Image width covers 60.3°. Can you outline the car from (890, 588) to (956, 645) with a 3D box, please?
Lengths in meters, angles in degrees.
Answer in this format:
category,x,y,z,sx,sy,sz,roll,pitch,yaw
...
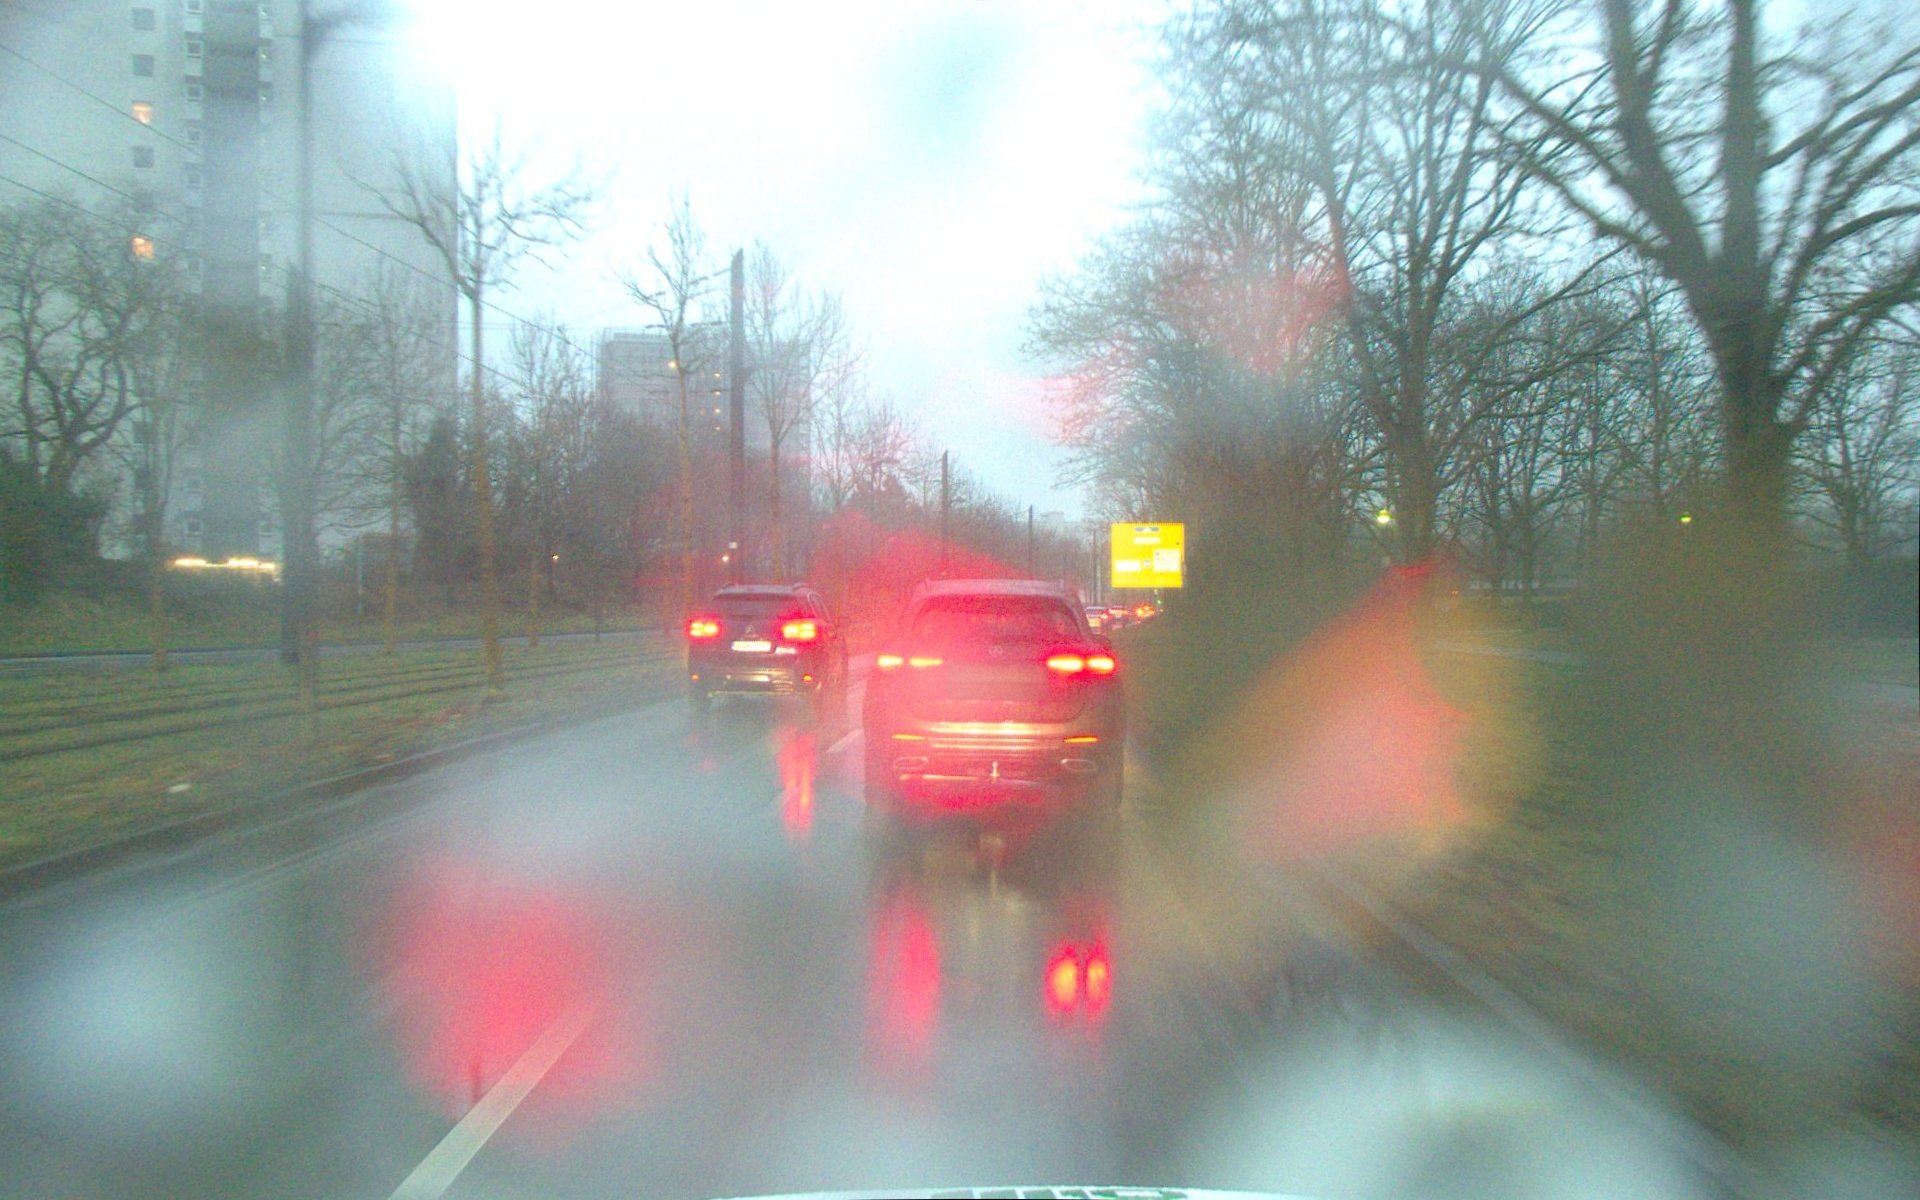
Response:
category,x,y,z,sx,sy,sz,roll,pitch,yaw
car,-1.104,0.457,49.006,1.842,1.621,3.999,0,0,-2

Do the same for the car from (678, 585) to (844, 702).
category,x,y,z,sx,sy,sz,roll,pitch,yaw
car,-2.695,0.553,23.247,1.841,1.485,4.000,0,0,0

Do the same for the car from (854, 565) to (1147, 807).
category,x,y,z,sx,sy,sz,roll,pitch,yaw
car,0.222,0.573,13.130,1.958,1.612,3.999,1,0,-2

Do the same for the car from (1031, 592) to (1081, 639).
category,x,y,z,sx,sy,sz,roll,pitch,yaw
car,3.359,0.536,58.155,1.673,1.585,3.997,0,0,2
